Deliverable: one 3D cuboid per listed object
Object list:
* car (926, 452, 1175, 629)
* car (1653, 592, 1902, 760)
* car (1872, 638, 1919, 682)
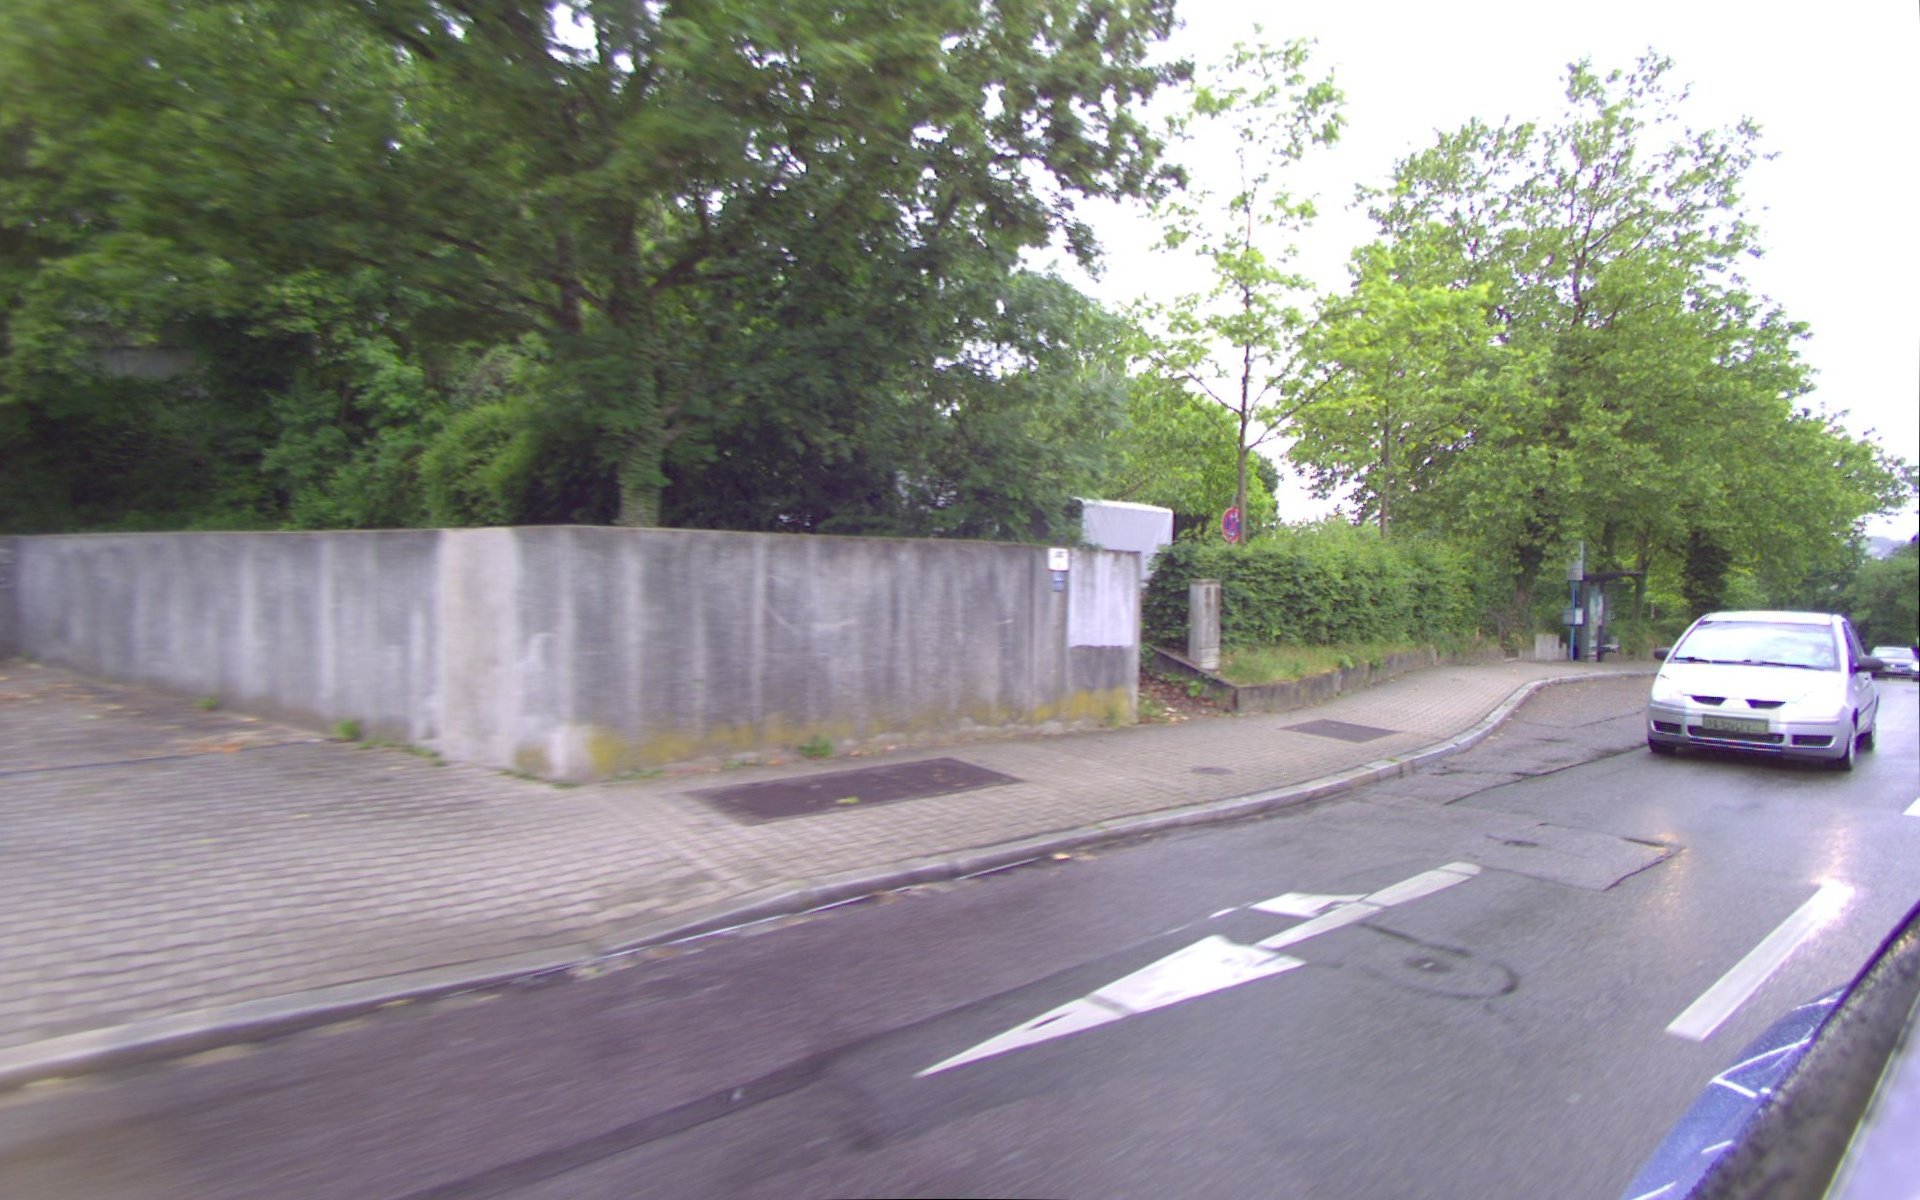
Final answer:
[{"bbox_3d":[1.555,-0.783,16.001,1.989,2.255,4.075,1,-3,38],"label":"car"},{"bbox_3d":[9.090,0.750,11.143,3.932,1.524,1.637,2,-2,-44],"label":"car"},{"bbox_3d":[39.574,2.537,42.102,3.930,1.723,2.032,5,-4,-42],"label":"car"}]
